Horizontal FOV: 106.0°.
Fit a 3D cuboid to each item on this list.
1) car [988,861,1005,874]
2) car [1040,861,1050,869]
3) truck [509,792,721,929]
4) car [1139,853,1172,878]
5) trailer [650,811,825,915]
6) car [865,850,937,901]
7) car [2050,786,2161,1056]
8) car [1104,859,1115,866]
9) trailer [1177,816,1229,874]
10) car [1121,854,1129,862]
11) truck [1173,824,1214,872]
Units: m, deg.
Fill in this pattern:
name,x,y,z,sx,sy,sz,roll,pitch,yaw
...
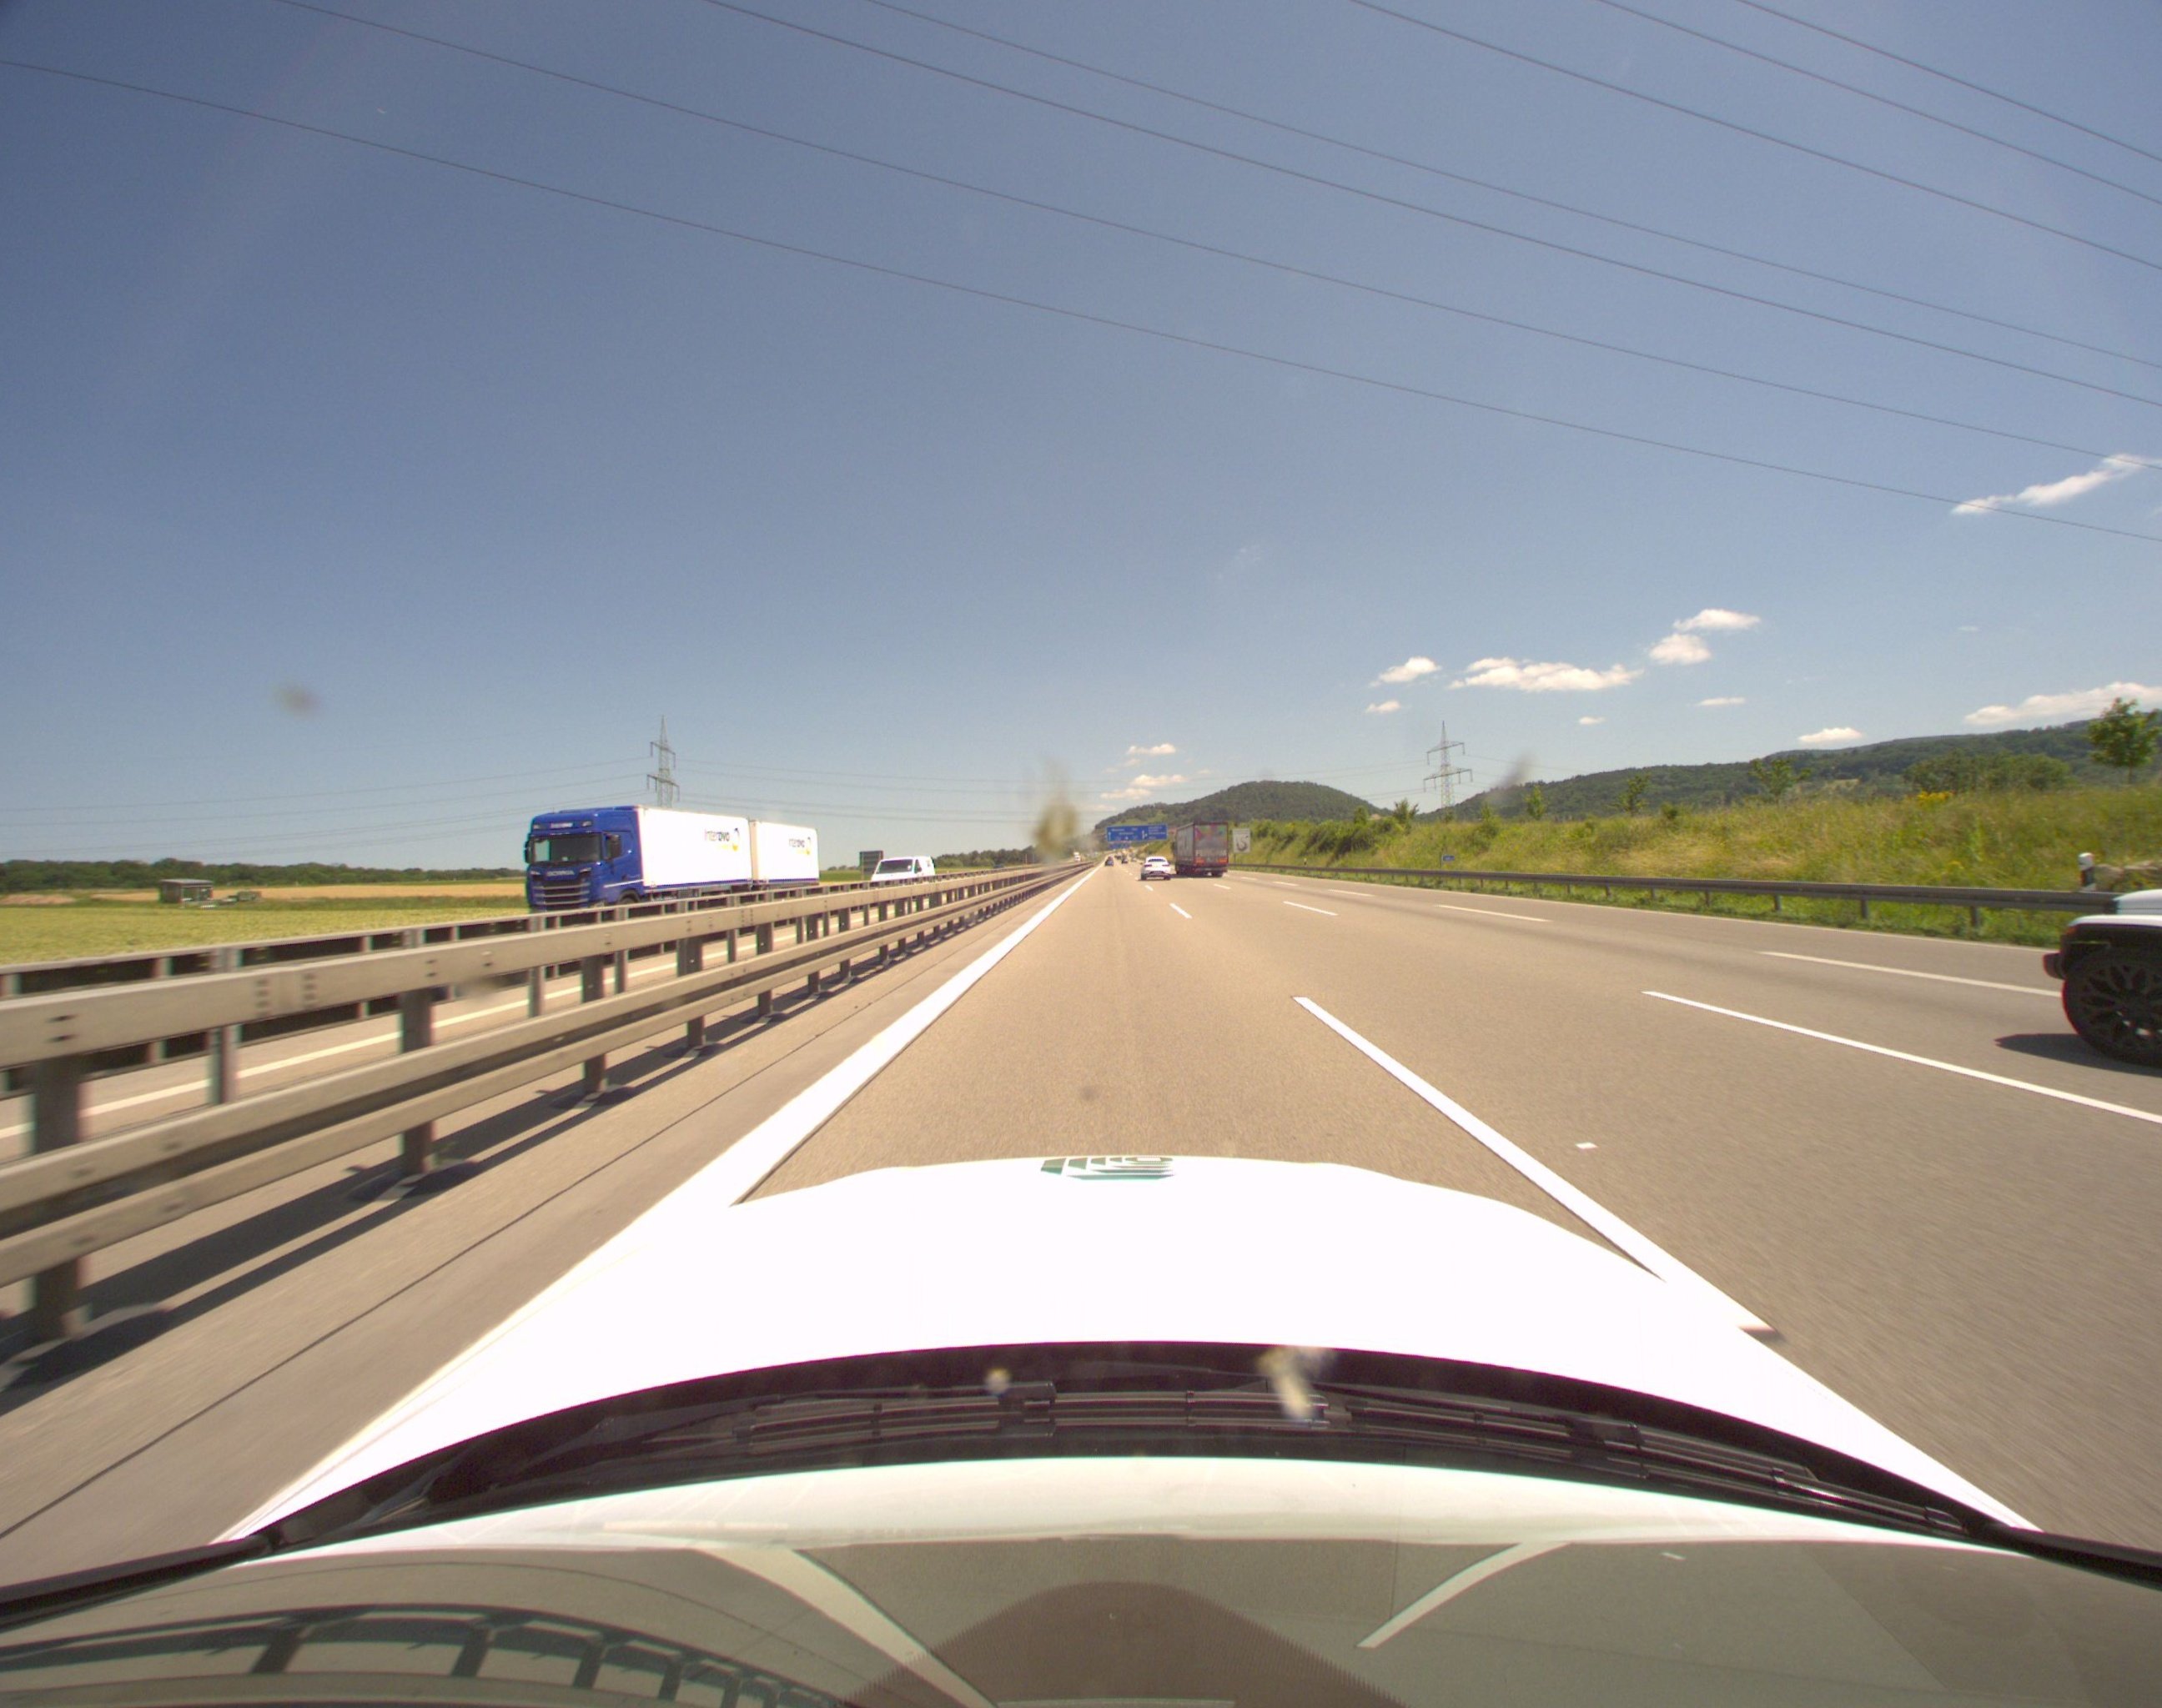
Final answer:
name,x,y,z,sx,sy,sz,roll,pitch,yaw
car,-9.674,1.577,93.075,1.477,1.425,3.610,-1,-1,2
car,-7.380,2.202,167.940,1.665,1.440,4.567,-5,-1,1
truck,-15.605,0.234,28.132,2.810,4.090,7.533,-1,-1,1
car,5.080,0.781,56.246,1.907,1.581,5.232,-1,-1,2
trailer,-15.317,0.396,37.782,2.822,4.046,11.669,-1,-1,2
car,-8.020,0.923,36.793,1.977,2.009,4.651,-4,0,2
car,8.181,0.435,3.932,2.026,1.804,4.253,-1,0,2
car,5.571,1.722,158.911,1.985,1.389,4.002,-1,-1,3
trailer,9.516,-0.557,64.611,2.715,4.155,11.813,-1,-1,2
car,11.123,1.101,207.111,1.985,2.014,4.002,-1,-1,3
truck,9.752,-0.467,71.215,2.742,4.020,6.790,-1,-1,1
